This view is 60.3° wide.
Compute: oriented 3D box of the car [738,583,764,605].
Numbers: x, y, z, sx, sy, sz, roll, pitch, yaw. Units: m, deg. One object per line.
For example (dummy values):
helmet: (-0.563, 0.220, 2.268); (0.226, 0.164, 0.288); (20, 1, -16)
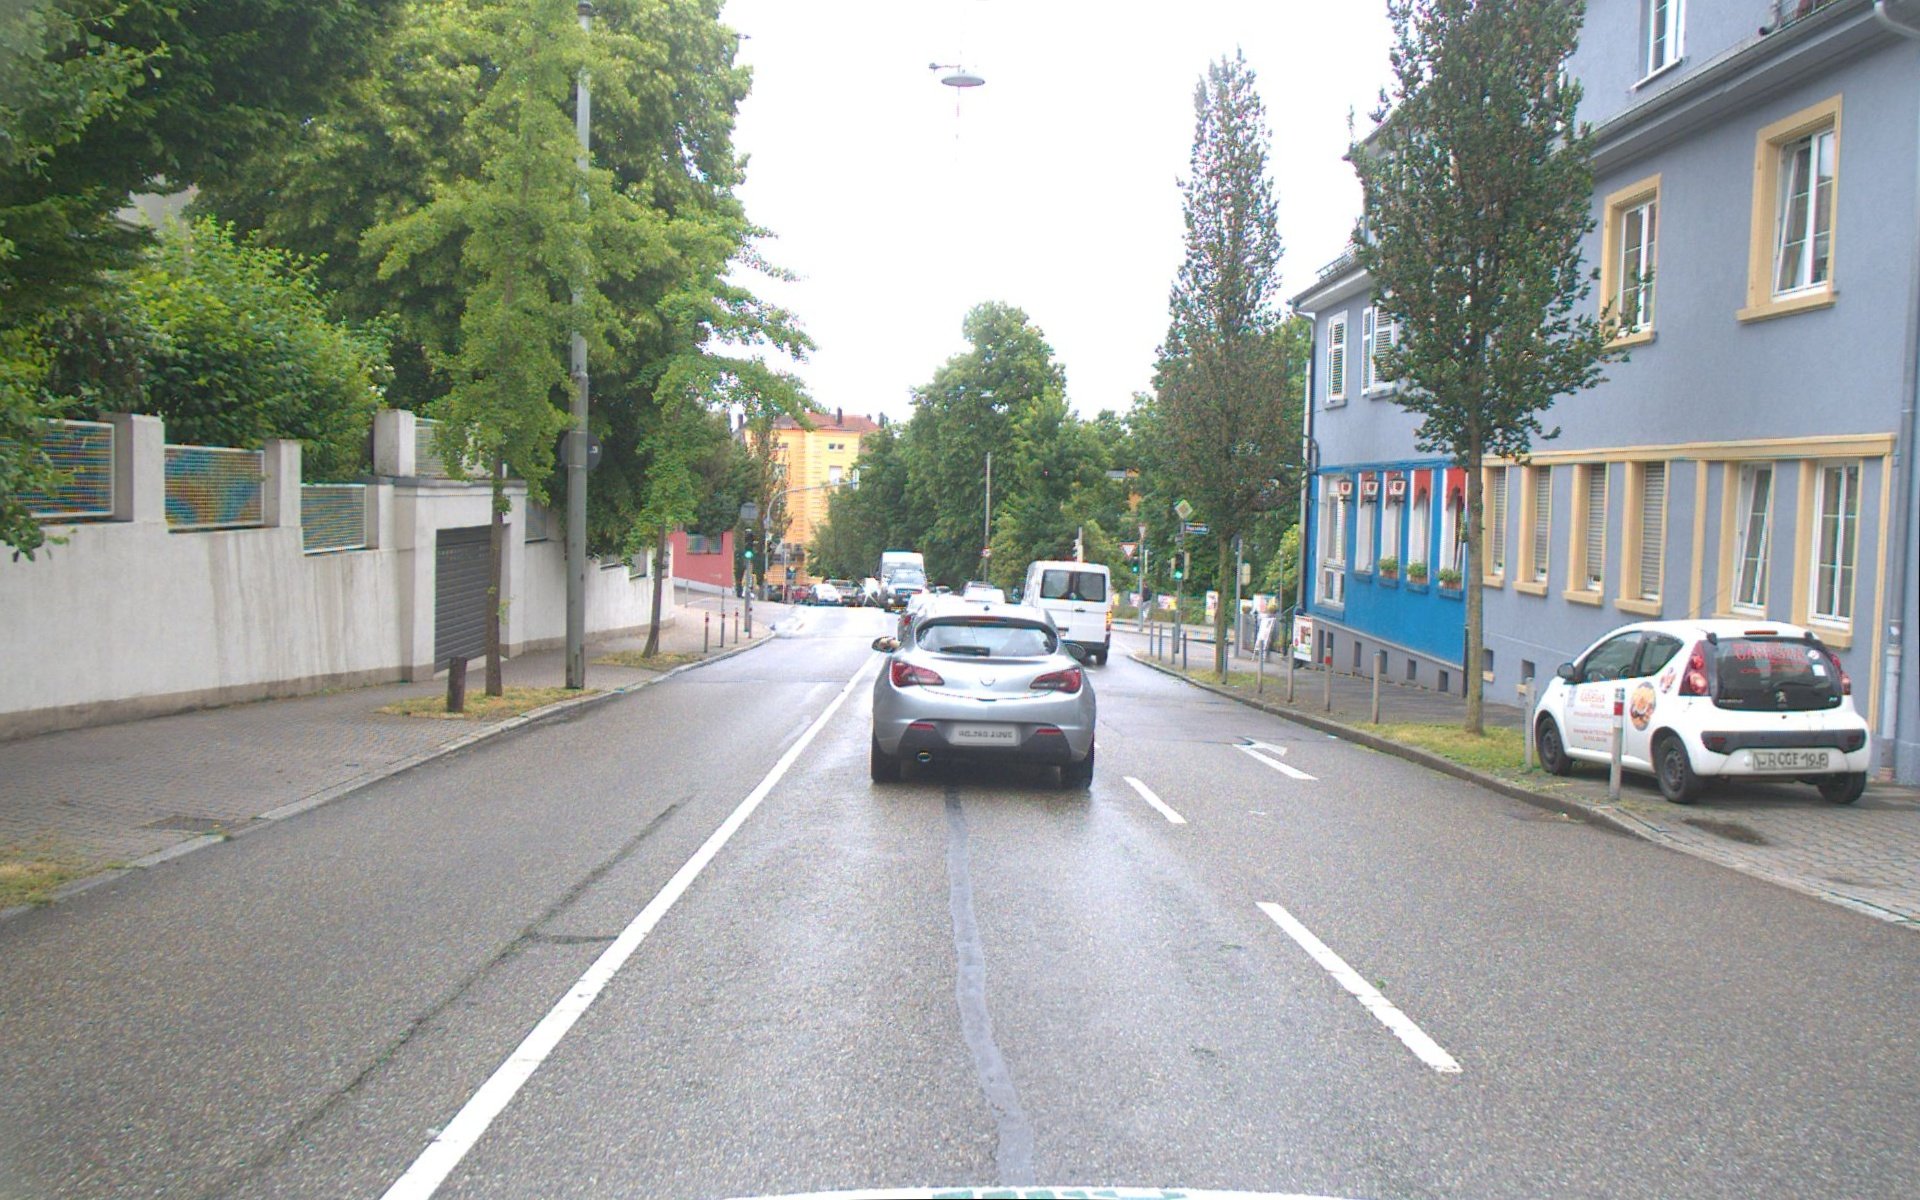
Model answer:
car: (-16.045, -0.481, 126.949); (1.817, 1.512, 5.361); (1, 2, -6)

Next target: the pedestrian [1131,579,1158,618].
pedestrian: (7.952, -0.062, 71.260); (0.757, 1.633, 0.957); (-1, 0, -27)

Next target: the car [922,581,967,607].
car: (-0.990, -0.368, 104.953); (1.786, 1.521, 3.982); (-4, 0, -16)

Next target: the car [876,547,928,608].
car: (-2.655, -0.961, 74.454); (2.076, 2.590, 5.535); (1, 0, -4)

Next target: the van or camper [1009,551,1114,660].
van or camper: (2.398, 0.107, 40.503); (2.061, 2.366, 5.416); (3, 0, -1)

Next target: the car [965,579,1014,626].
car: (0.925, 0.077, 53.153); (1.355, 1.436, 3.455); (1, 0, -2)

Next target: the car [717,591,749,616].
car: (-15.694, 0.264, 114.152); (1.784, 1.640, 3.986); (3, -1, -13)

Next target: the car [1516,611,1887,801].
car: (6.429, 0.842, 14.754); (1.555, 1.436, 3.453); (0, 0, -5)

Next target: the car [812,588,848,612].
car: (-8.533, 0.001, 108.315); (1.743, 1.523, 4.250); (2, -1, -12)

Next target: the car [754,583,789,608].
car: (-15.942, -0.342, 139.924); (1.965, 2.049, 3.974); (2, -1, -21)

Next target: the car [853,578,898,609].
car: (-4.653, -0.334, 90.597); (1.841, 1.602, 4.574); (2, 0, -11)

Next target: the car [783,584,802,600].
car: (-16.321, -0.799, 161.495); (1.742, 1.454, 3.782); (3, 1, -5)

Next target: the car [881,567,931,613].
car: (-2.178, -0.428, 65.573); (1.785, 1.680, 4.343); (3, 1, -3)

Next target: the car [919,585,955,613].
car: (-1.328, -0.041, 94.584); (1.590, 1.512, 3.429); (1, -1, -8)

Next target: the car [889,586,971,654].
car: (-0.681, 0.440, 37.461); (1.740, 1.455, 3.784); (1, 0, -1)

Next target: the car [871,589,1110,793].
car: (0.210, 0.685, 14.644); (1.778, 1.454, 4.000); (2, 1, -1)

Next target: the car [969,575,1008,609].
car: (1.341, -0.372, 78.711); (1.588, 1.512, 3.433); (1, -1, -4)

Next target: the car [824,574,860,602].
car: (-8.513, -0.836, 118.957); (1.753, 1.887, 3.981); (2, -1, -17)

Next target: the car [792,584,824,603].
car: (-13.273, -0.548, 144.412); (1.788, 1.493, 3.977); (-3, 1, -20)
